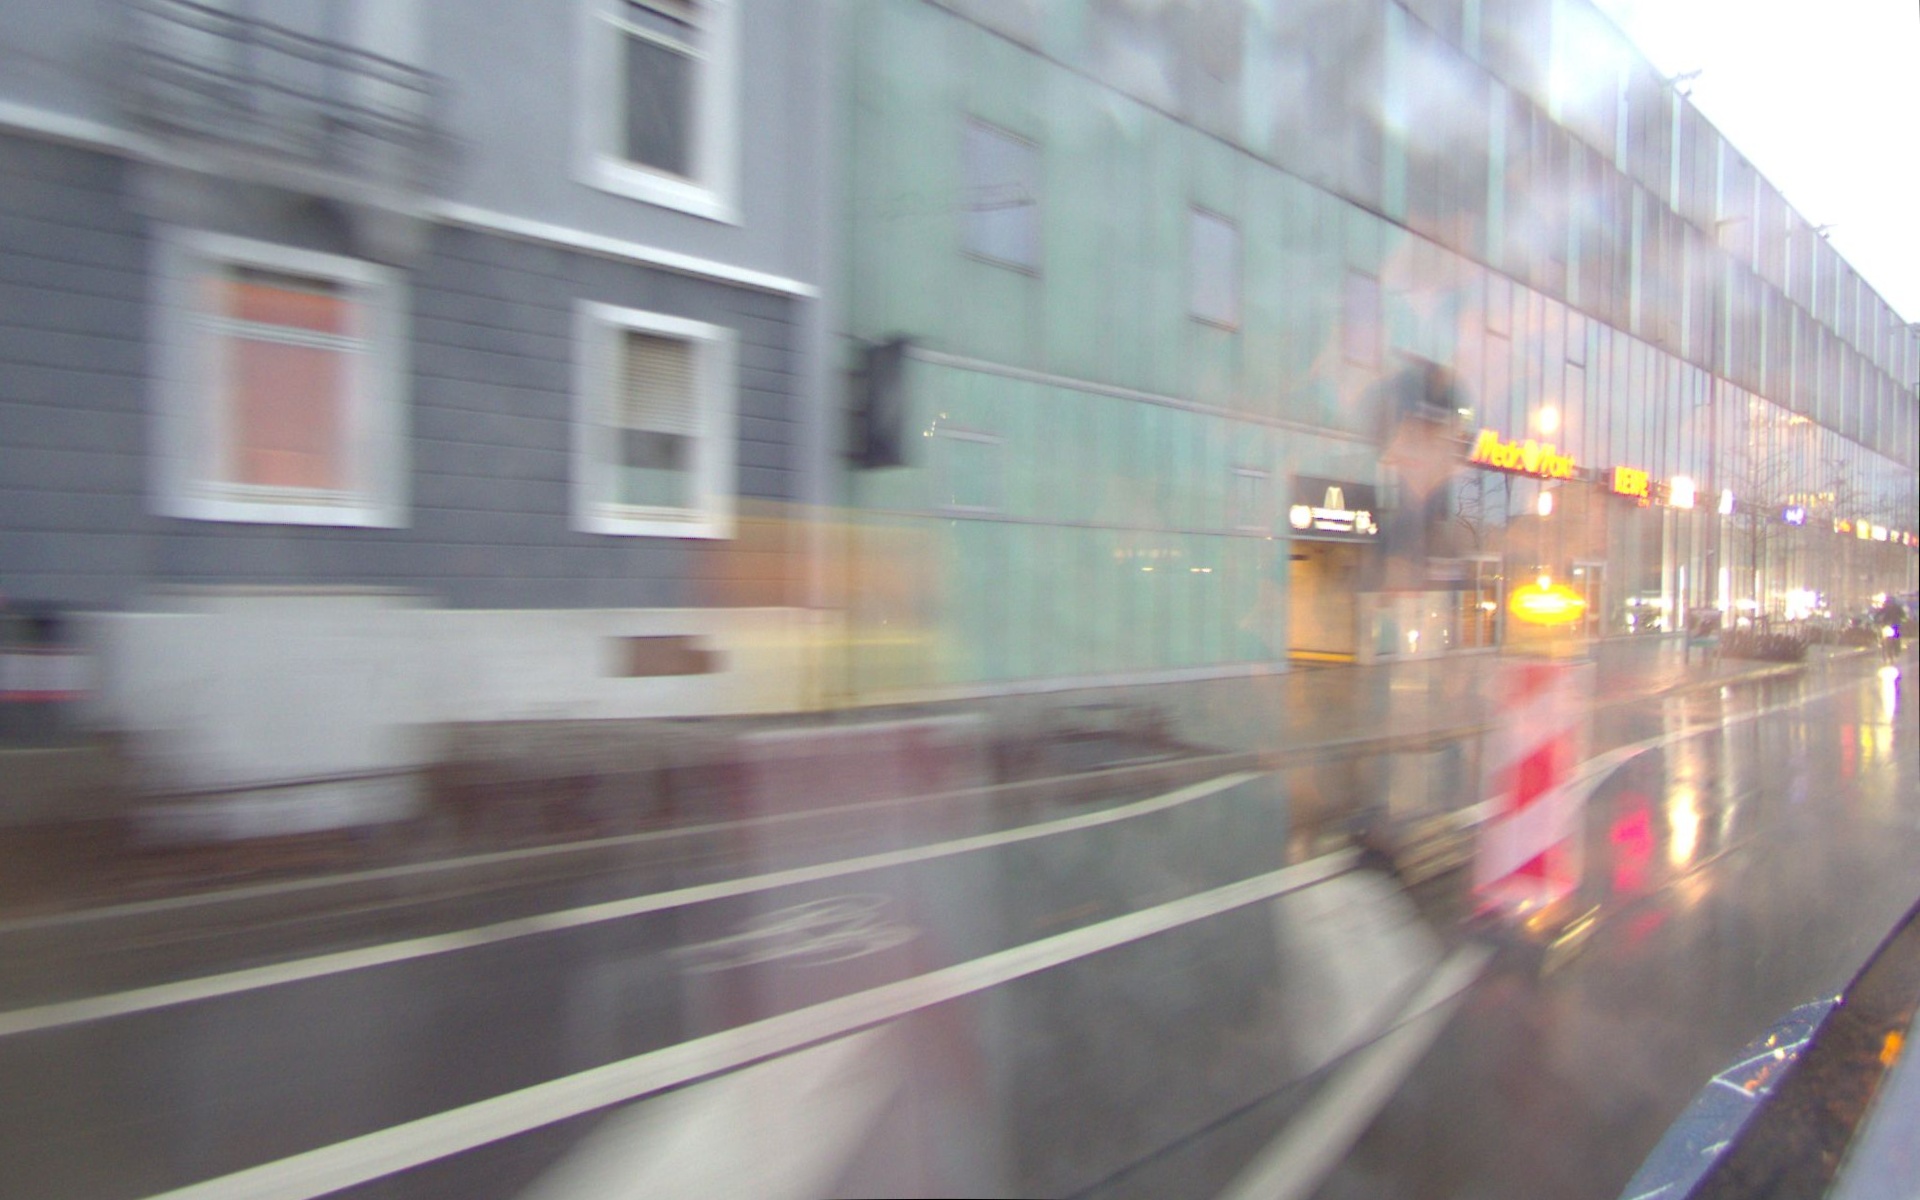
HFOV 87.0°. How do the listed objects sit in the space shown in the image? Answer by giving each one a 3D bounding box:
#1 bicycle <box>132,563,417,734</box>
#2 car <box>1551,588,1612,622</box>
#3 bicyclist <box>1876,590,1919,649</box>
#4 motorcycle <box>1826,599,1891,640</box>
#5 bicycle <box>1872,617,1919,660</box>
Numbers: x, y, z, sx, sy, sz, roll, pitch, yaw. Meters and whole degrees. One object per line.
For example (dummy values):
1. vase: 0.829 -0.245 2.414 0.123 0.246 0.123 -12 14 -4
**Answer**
1. bicycle: -5.577 0.341 8.298 1.872 1.237 0.684 0 4 -40
2. car: 32.986 0.225 53.688 3.930 1.753 1.674 0 0 -41
3. bicyclist: 24.217 0.490 25.918 1.047 1.481 0.945 0 0 -38
4. motorcycle: 31.680 0.675 35.714 0.584 1.350 1.910 0 1 1
5. bicycle: 24.225 0.963 25.904 2.199 1.012 0.945 0 0 -38
